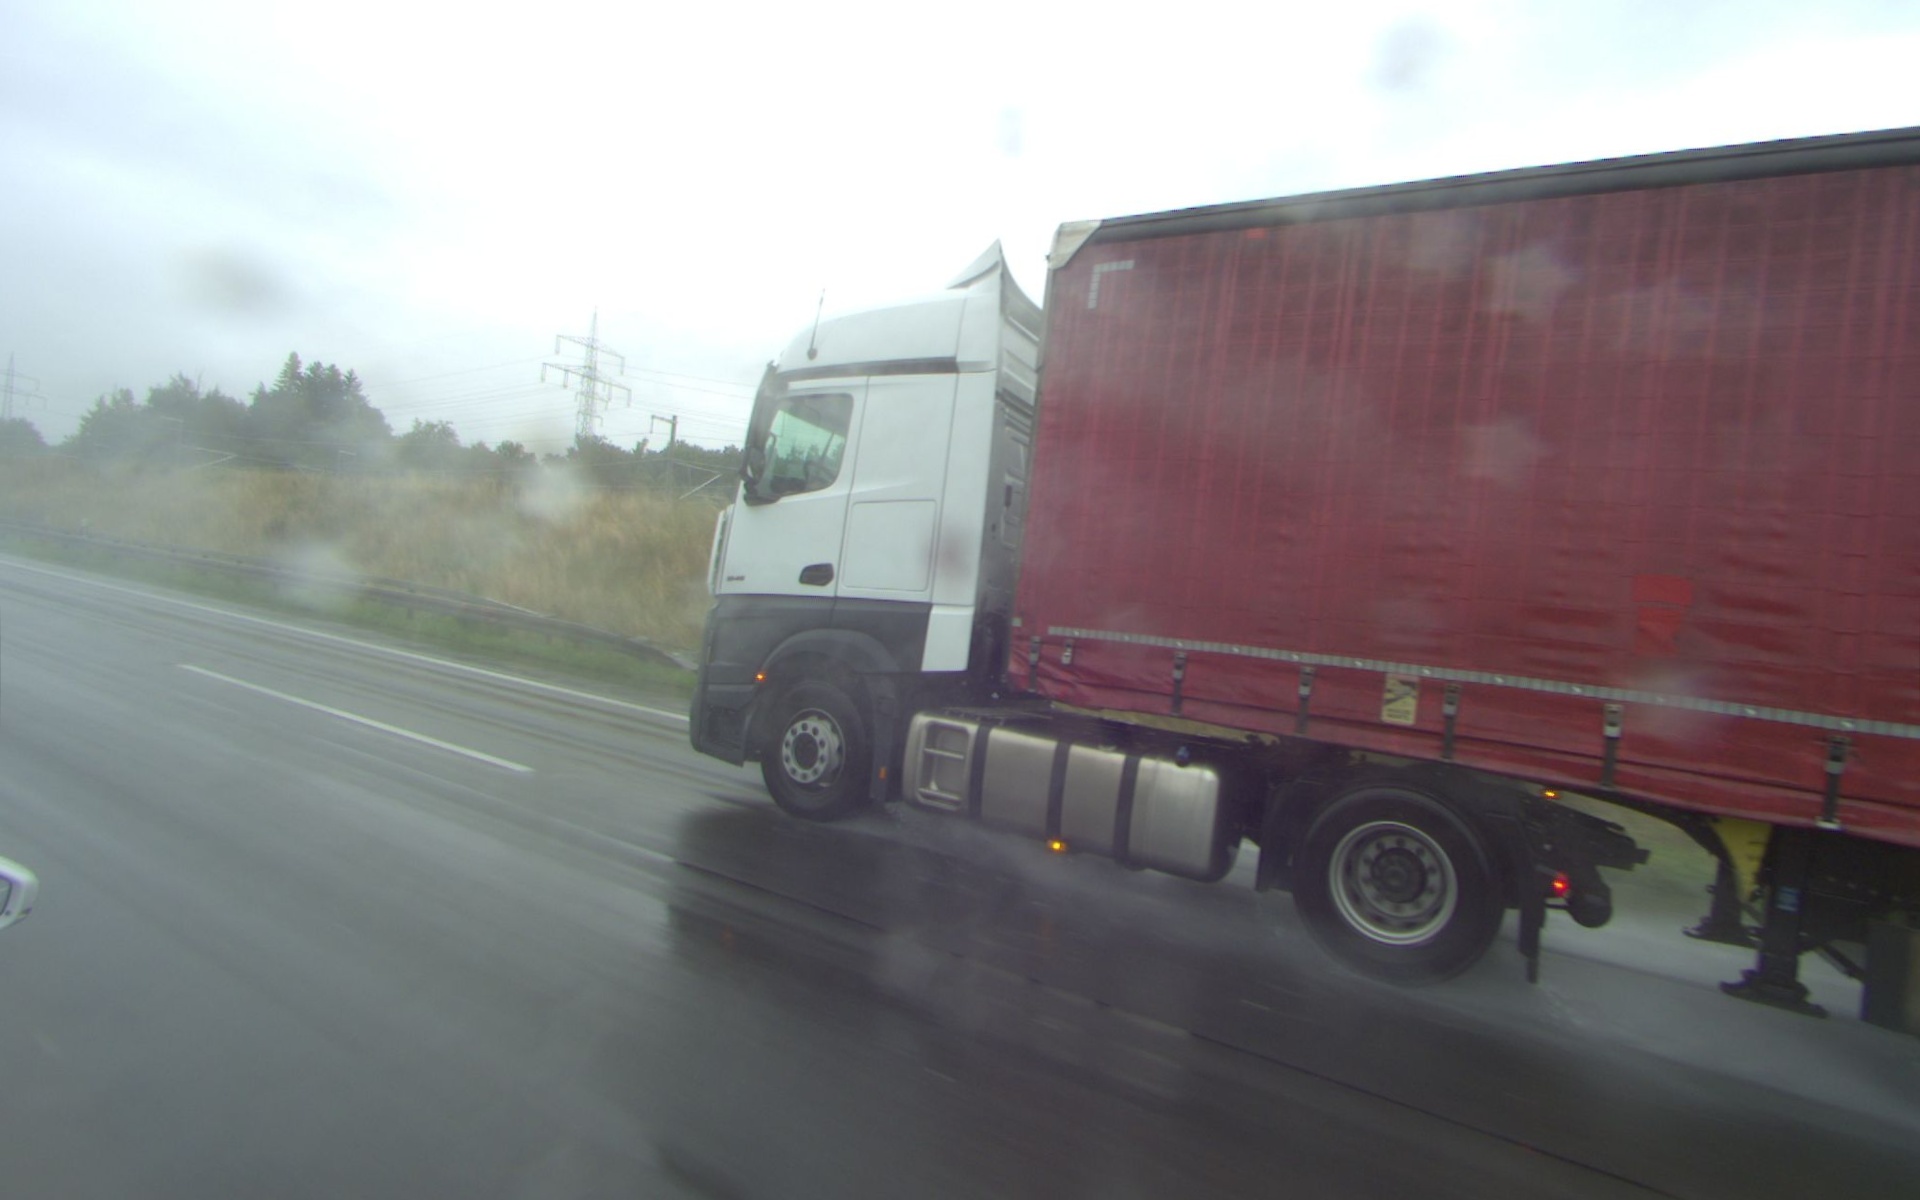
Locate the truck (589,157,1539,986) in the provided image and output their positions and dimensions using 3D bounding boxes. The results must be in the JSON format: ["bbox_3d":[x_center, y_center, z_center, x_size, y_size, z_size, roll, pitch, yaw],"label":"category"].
[{"bbox_3d":[0.516,-0.299,7.397,6.096,3.934,2.456,6,-1,32],"label":"truck"}]

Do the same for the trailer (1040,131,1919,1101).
[{"bbox_3d":[8.238,0.555,2.693,16.268,3.809,2.485,6,-2,31],"label":"trailer"}]
